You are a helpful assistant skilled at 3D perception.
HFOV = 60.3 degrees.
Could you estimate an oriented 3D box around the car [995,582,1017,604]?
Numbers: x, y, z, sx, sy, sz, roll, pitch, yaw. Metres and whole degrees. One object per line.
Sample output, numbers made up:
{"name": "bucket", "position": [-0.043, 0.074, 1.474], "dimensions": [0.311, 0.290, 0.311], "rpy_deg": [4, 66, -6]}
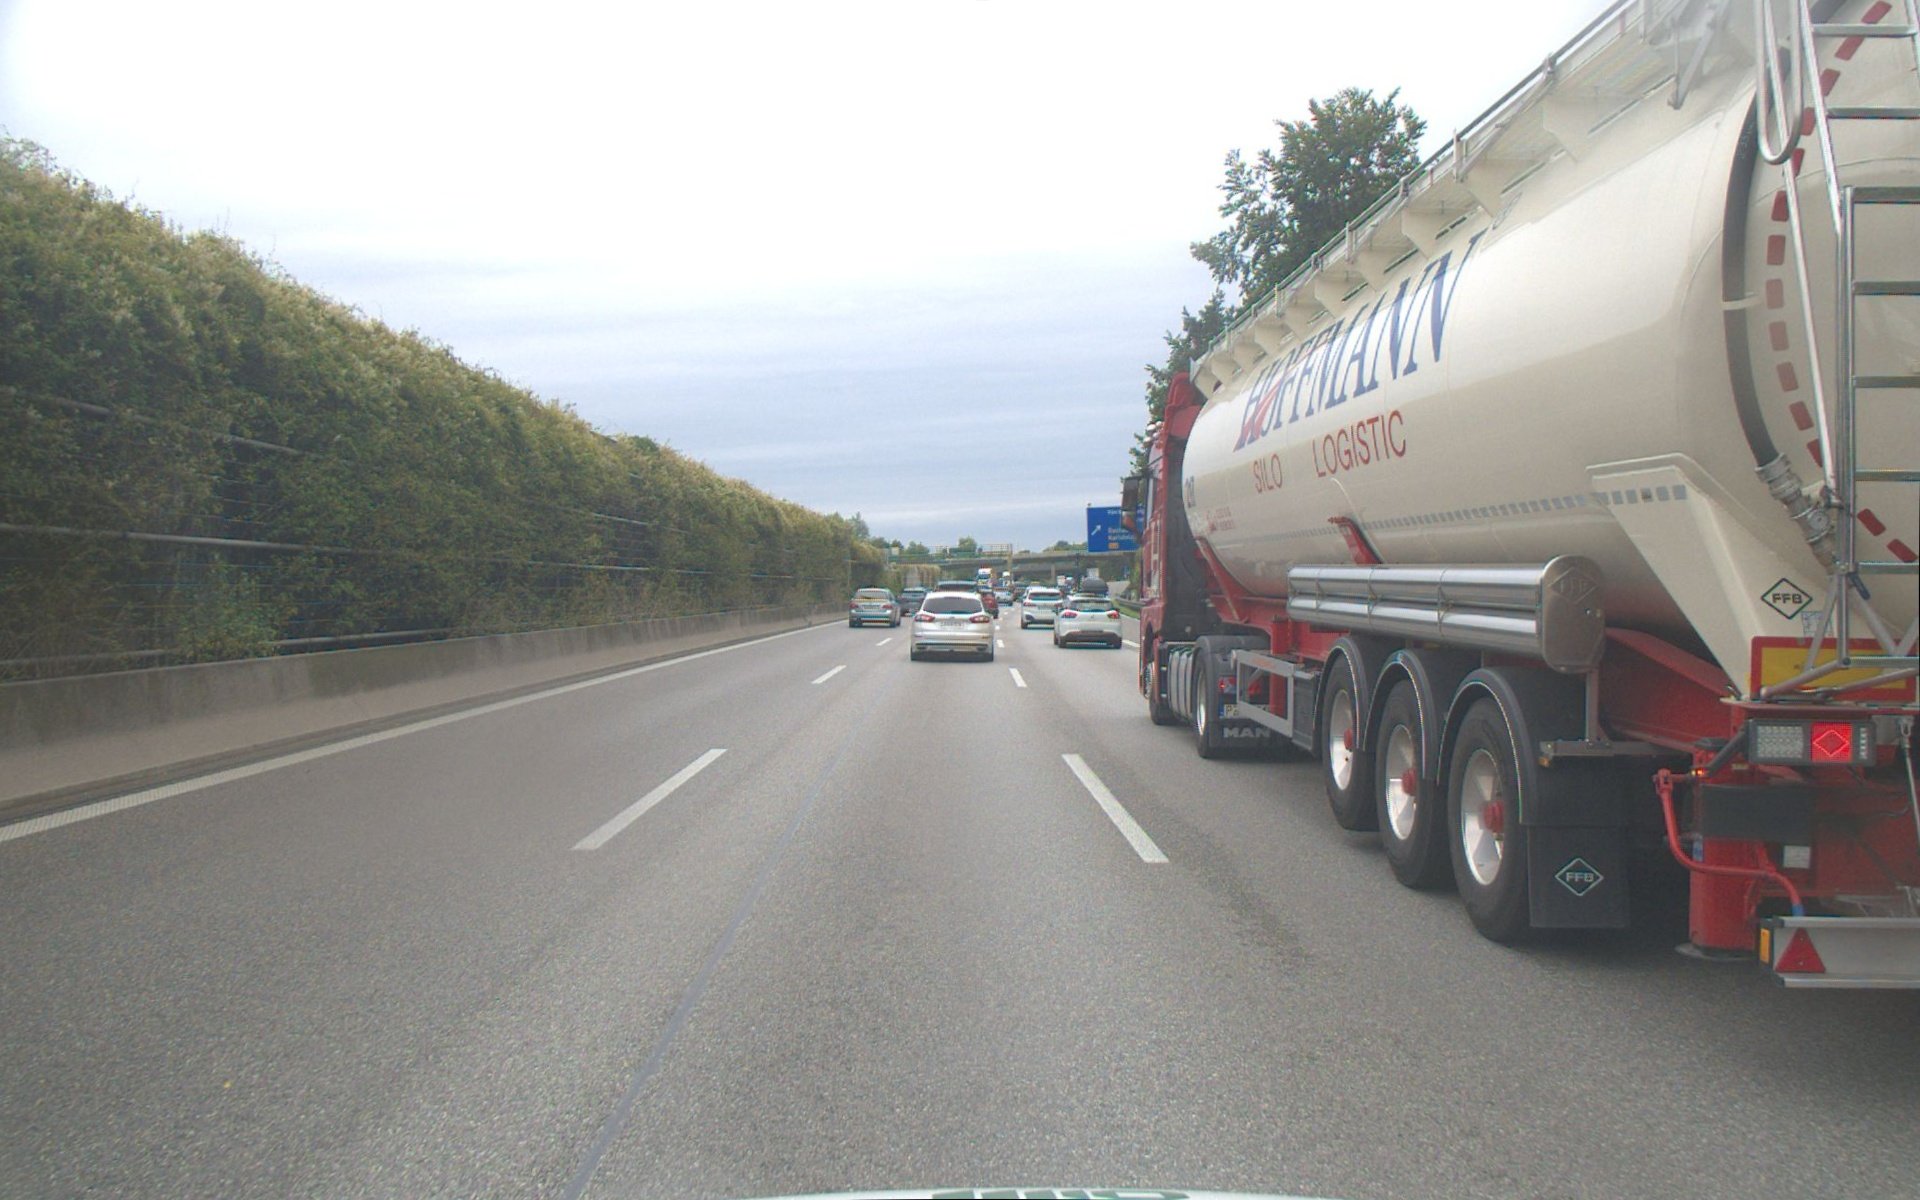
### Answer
{"name": "car", "position": [3.843, -0.588, 138.673], "dimensions": [1.752, 1.811, 3.873], "rpy_deg": [-1, 0, 3]}

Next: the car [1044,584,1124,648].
{"name": "car", "position": [3.354, 0.403, 45.540], "dimensions": [1.779, 1.654, 5.029], "rpy_deg": [0, 0, 0]}

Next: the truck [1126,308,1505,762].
{"name": "truck", "position": [3.452, -0.564, 17.799], "dimensions": [2.640, 3.981, 6.556], "rpy_deg": [0, 0, 0]}

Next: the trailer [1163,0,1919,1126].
{"name": "trailer", "position": [3.534, -0.608, 10.955], "dimensions": [2.614, 4.008, 13.127], "rpy_deg": [0, 0, -1]}

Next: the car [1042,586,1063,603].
{"name": "car", "position": [8.440, -0.500, 150.615], "dimensions": [1.653, 1.566, 3.875], "rpy_deg": [0, 1, 8]}

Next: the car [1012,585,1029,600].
{"name": "car", "position": [6.217, -0.806, 170.596], "dimensions": [1.654, 1.566, 3.871], "rpy_deg": [0, 1, 0]}

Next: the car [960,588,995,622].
{"name": "car", "position": [0.925, 0.219, 84.391], "dimensions": [1.654, 1.532, 3.872], "rpy_deg": [4, 1, 1]}

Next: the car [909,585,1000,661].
{"name": "car", "position": [-0.176, 0.476, 36.816], "dimensions": [1.853, 1.530, 5.029], "rpy_deg": [1, 0, -1]}

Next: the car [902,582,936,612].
{"name": "car", "position": [-2.161, -0.173, 88.051], "dimensions": [1.685, 1.538, 5.030], "rpy_deg": [0, 0, 0]}

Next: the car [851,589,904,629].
{"name": "car", "position": [-3.182, 0.361, 64.489], "dimensions": [1.684, 1.495, 5.030], "rpy_deg": [0, -1, 1]}

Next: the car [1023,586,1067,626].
{"name": "car", "position": [3.332, 0.247, 65.151], "dimensions": [1.654, 1.533, 3.872], "rpy_deg": [0, 0, 2]}

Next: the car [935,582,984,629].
{"name": "car", "position": [-0.031, 0.172, 60.486], "dimensions": [1.655, 1.532, 3.871], "rpy_deg": [4, 1, -1]}
